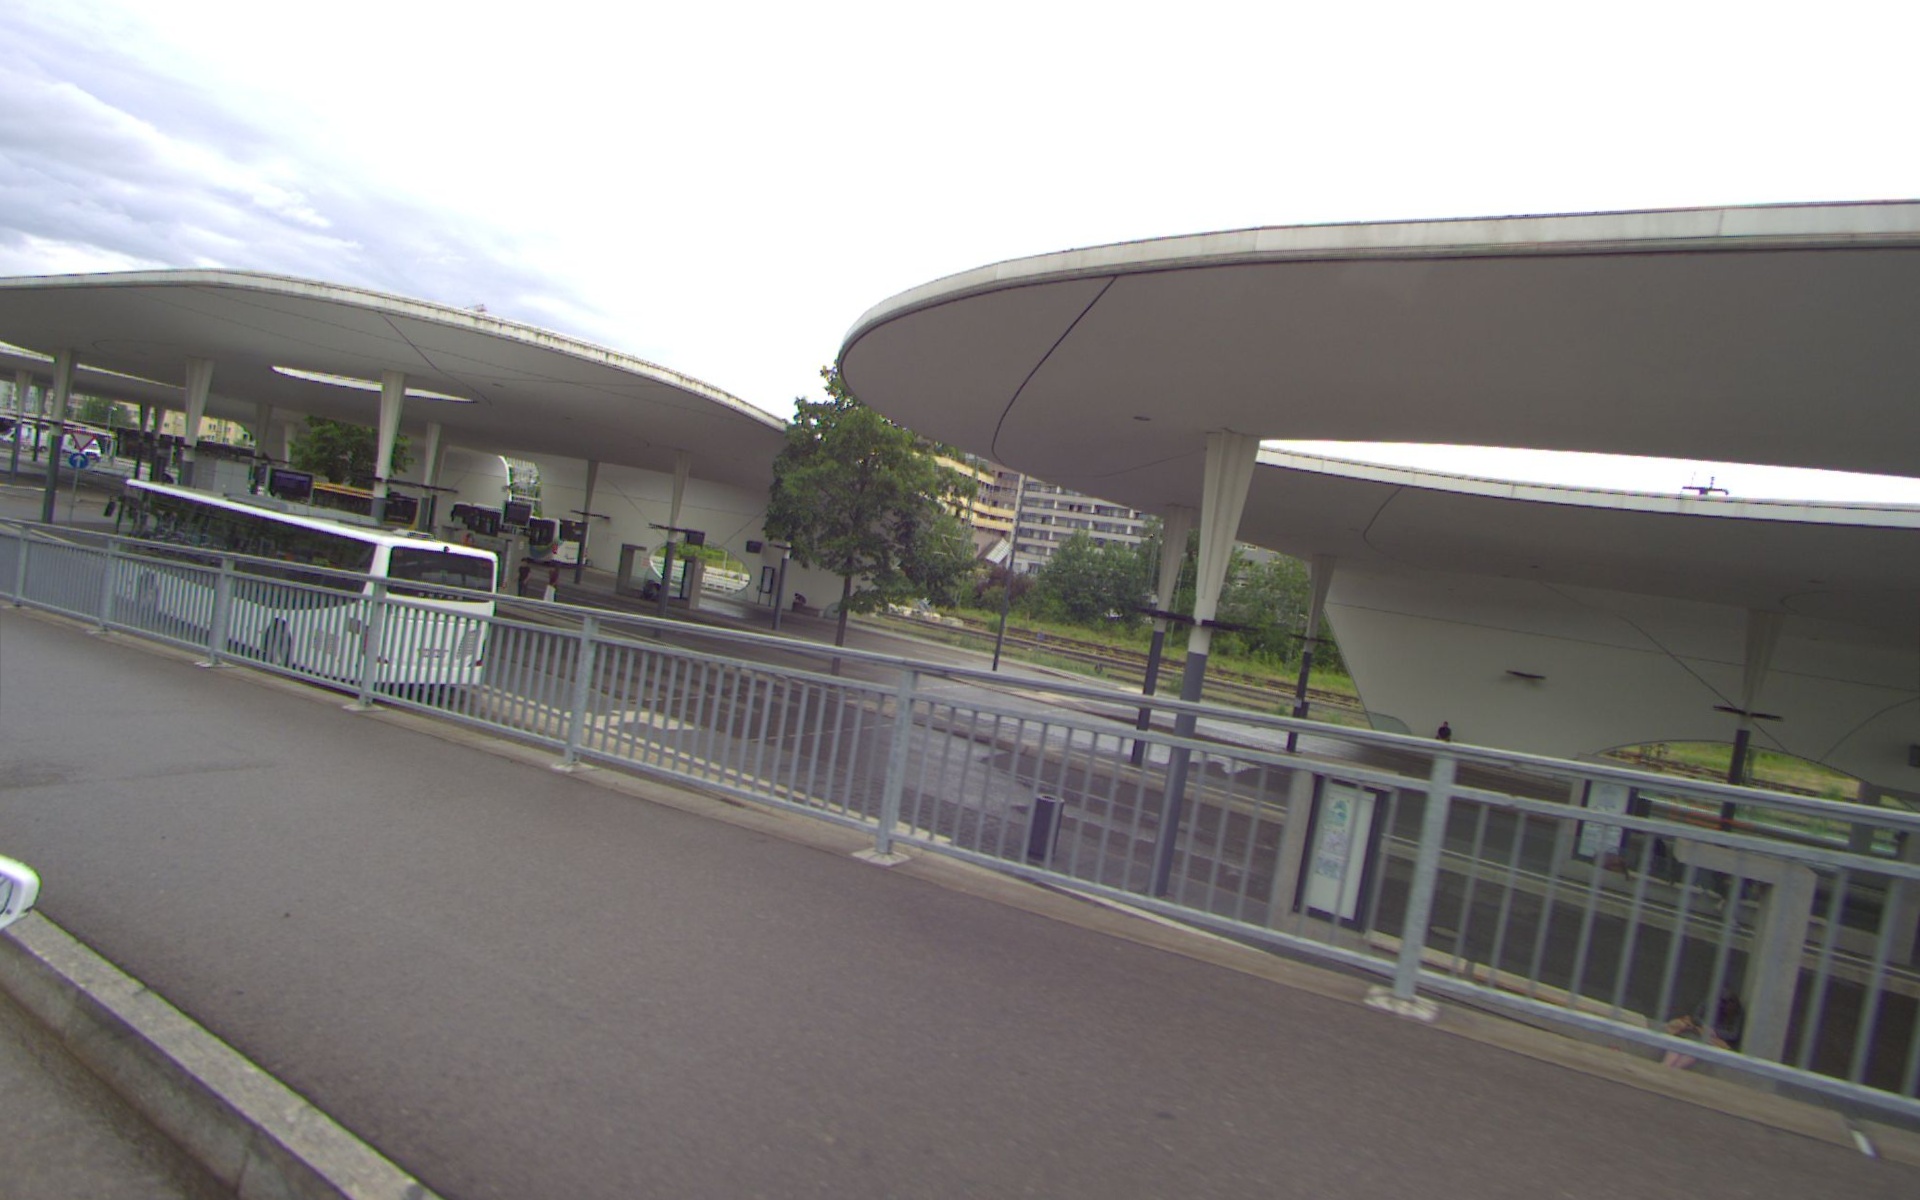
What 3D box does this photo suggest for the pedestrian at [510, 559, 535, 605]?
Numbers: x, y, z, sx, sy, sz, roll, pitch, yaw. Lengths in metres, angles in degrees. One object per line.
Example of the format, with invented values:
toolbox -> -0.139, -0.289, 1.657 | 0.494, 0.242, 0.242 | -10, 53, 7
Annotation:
pedestrian -> -17.023, -0.702, 39.161 | 0.548, 1.677, 0.568 | 11, 5, 37

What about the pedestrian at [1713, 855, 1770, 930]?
pedestrian -> 14.720, 5.494, 18.968 | 0.658, 1.177, 0.536 | 6, -2, 28

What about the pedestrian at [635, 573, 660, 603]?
pedestrian -> -15.240, -0.597, 49.098 | 0.790, 1.340, 0.709 | 6, -2, 39

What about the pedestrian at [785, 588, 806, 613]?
pedestrian -> -9.582, 0.033, 58.537 | 0.789, 1.340, 0.710 | 6, -2, 35

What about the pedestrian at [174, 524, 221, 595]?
pedestrian -> -21.627, -1.136, 28.529 | 0.638, 1.910, 0.585 | 10, 3, -4

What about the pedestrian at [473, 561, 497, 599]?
pedestrian -> -18.712, -0.792, 39.632 | 0.548, 1.412, 0.568 | 11, 5, 37

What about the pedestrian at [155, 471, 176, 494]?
pedestrian -> -62.073, -9.203, 78.586 | 0.892, 1.606, 0.796 | 9, 1, 26

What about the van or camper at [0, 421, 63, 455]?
van or camper -> -102.180, -17.785, 110.706 | 2.083, 2.588, 4.617 | 8, -1, 30

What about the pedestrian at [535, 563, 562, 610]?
pedestrian -> -15.577, -0.499, 38.102 | 0.629, 1.677, 0.641 | 7, 4, -8

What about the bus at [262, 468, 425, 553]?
bus -> -36.838, -5.408, 59.875 | 11.933, 3.300, 2.791 | 11, 4, 30

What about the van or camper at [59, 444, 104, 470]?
van or camper -> -95.709, -15.572, 109.549 | 5.388, 2.128, 1.997 | 8, 0, 31

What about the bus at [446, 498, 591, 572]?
bus -> -29.685, -4.431, 67.258 | 11.770, 3.302, 2.466 | 11, 5, 32

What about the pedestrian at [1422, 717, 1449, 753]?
pedestrian -> 19.122, 5.428, 40.429 | 0.701, 1.340, 0.799 | 6, -2, 37

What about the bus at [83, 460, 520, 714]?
bus -> -14.995, -0.542, 22.257 | 12.216, 3.401, 2.851 | 11, 1, 31
